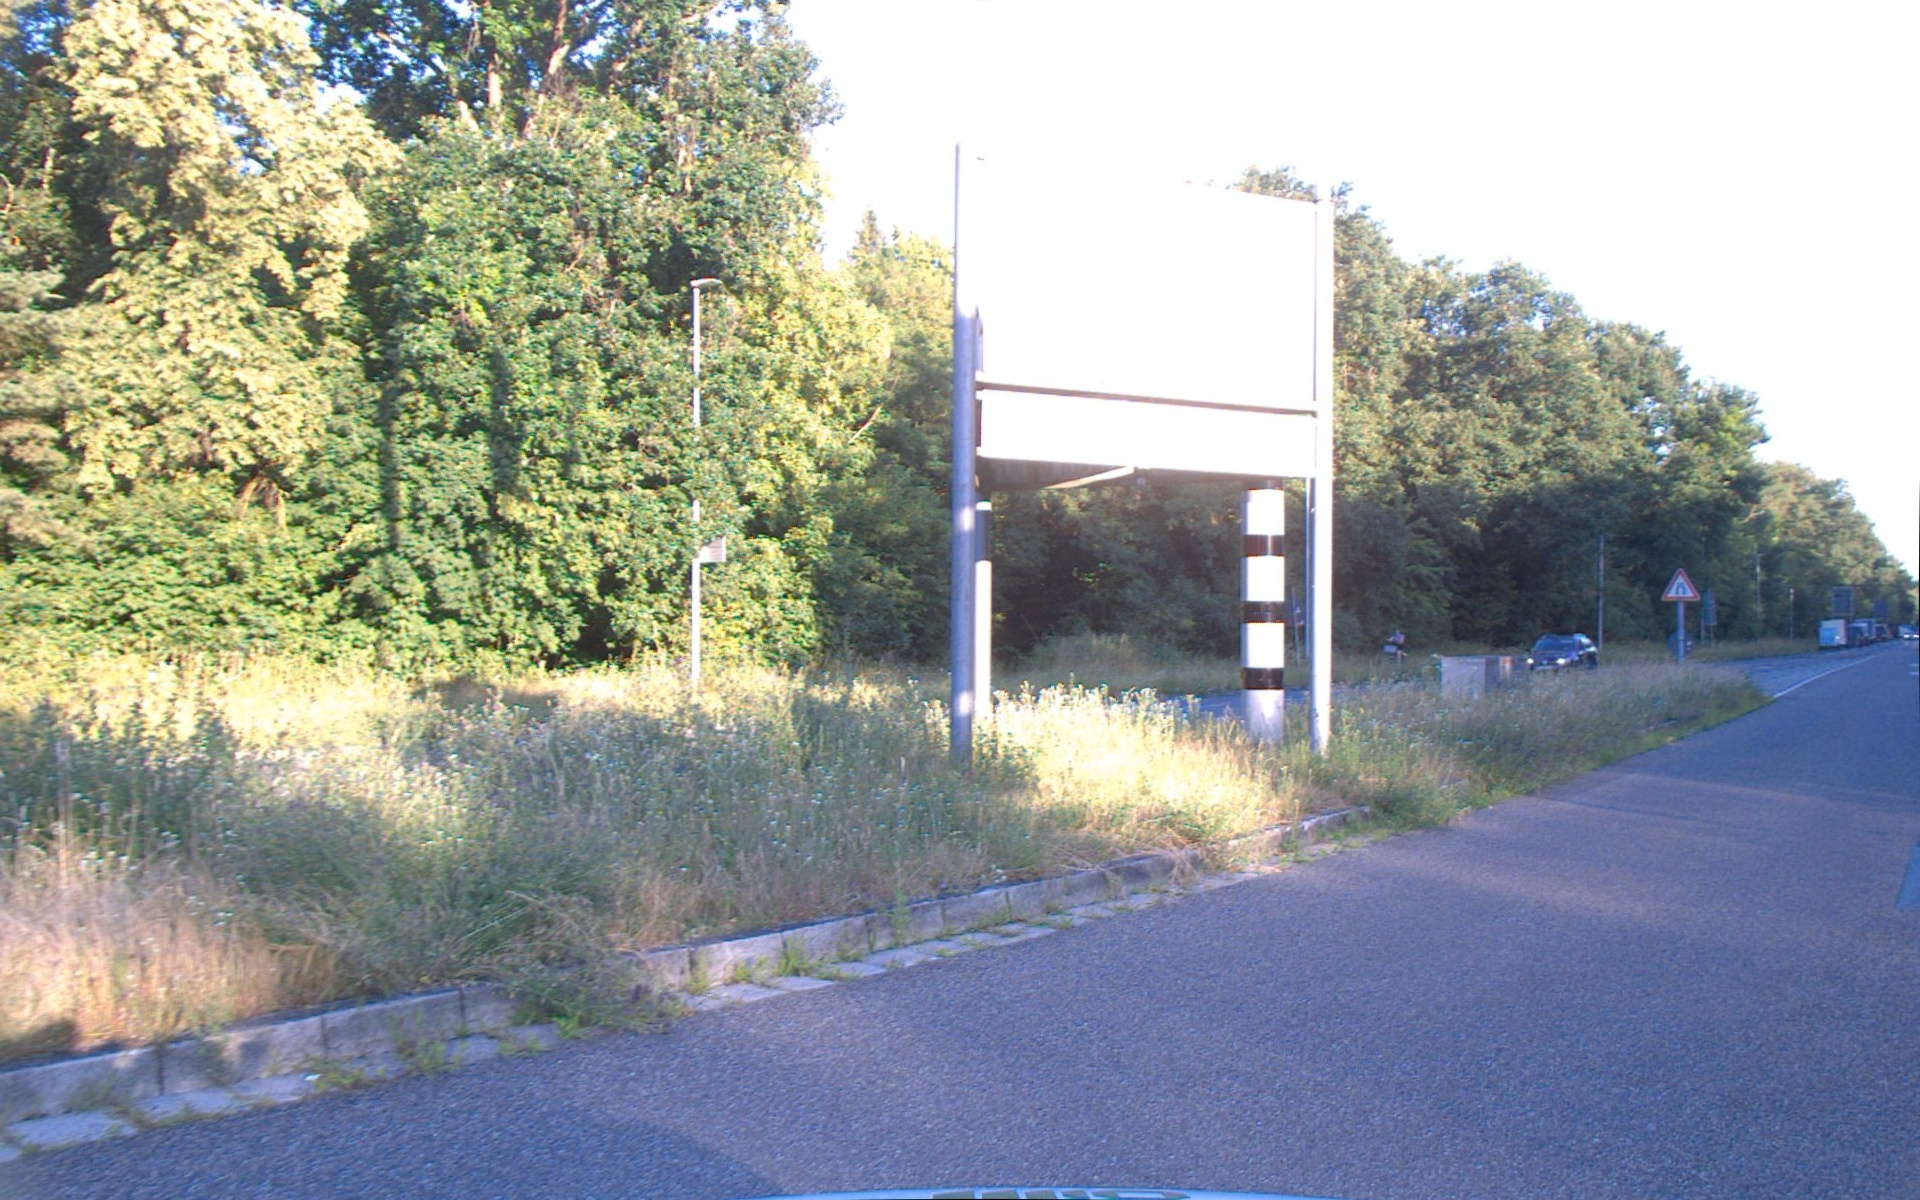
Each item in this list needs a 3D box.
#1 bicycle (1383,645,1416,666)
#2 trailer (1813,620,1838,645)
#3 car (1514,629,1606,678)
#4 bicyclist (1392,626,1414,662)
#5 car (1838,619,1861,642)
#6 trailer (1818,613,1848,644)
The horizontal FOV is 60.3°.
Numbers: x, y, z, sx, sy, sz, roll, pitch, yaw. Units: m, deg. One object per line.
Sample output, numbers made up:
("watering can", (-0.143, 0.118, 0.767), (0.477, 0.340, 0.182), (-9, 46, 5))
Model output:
("bicycle", (17.946, 2.260, 67.489), (0.576, 0.818, 1.949), (-1, -1, 39))
("trailer", (78.304, 2.930, 149.627), (1.783, 2.206, 4.134), (-1, -1, 30))
("car", (20.122, 1.759, 55.335), (1.788, 1.561, 4.440), (-3, -2, 35))
("bicyclist", (18.010, 1.778, 67.220), (0.576, 1.455, 0.818), (-1, -2, 39))
("car", (99.804, 3.426, 185.518), (1.957, 2.406, 5.752), (-3, -2, 31))
("trailer", (86.097, 2.807, 163.125), (2.282, 2.975, 5.615), (-3, -2, 30))
